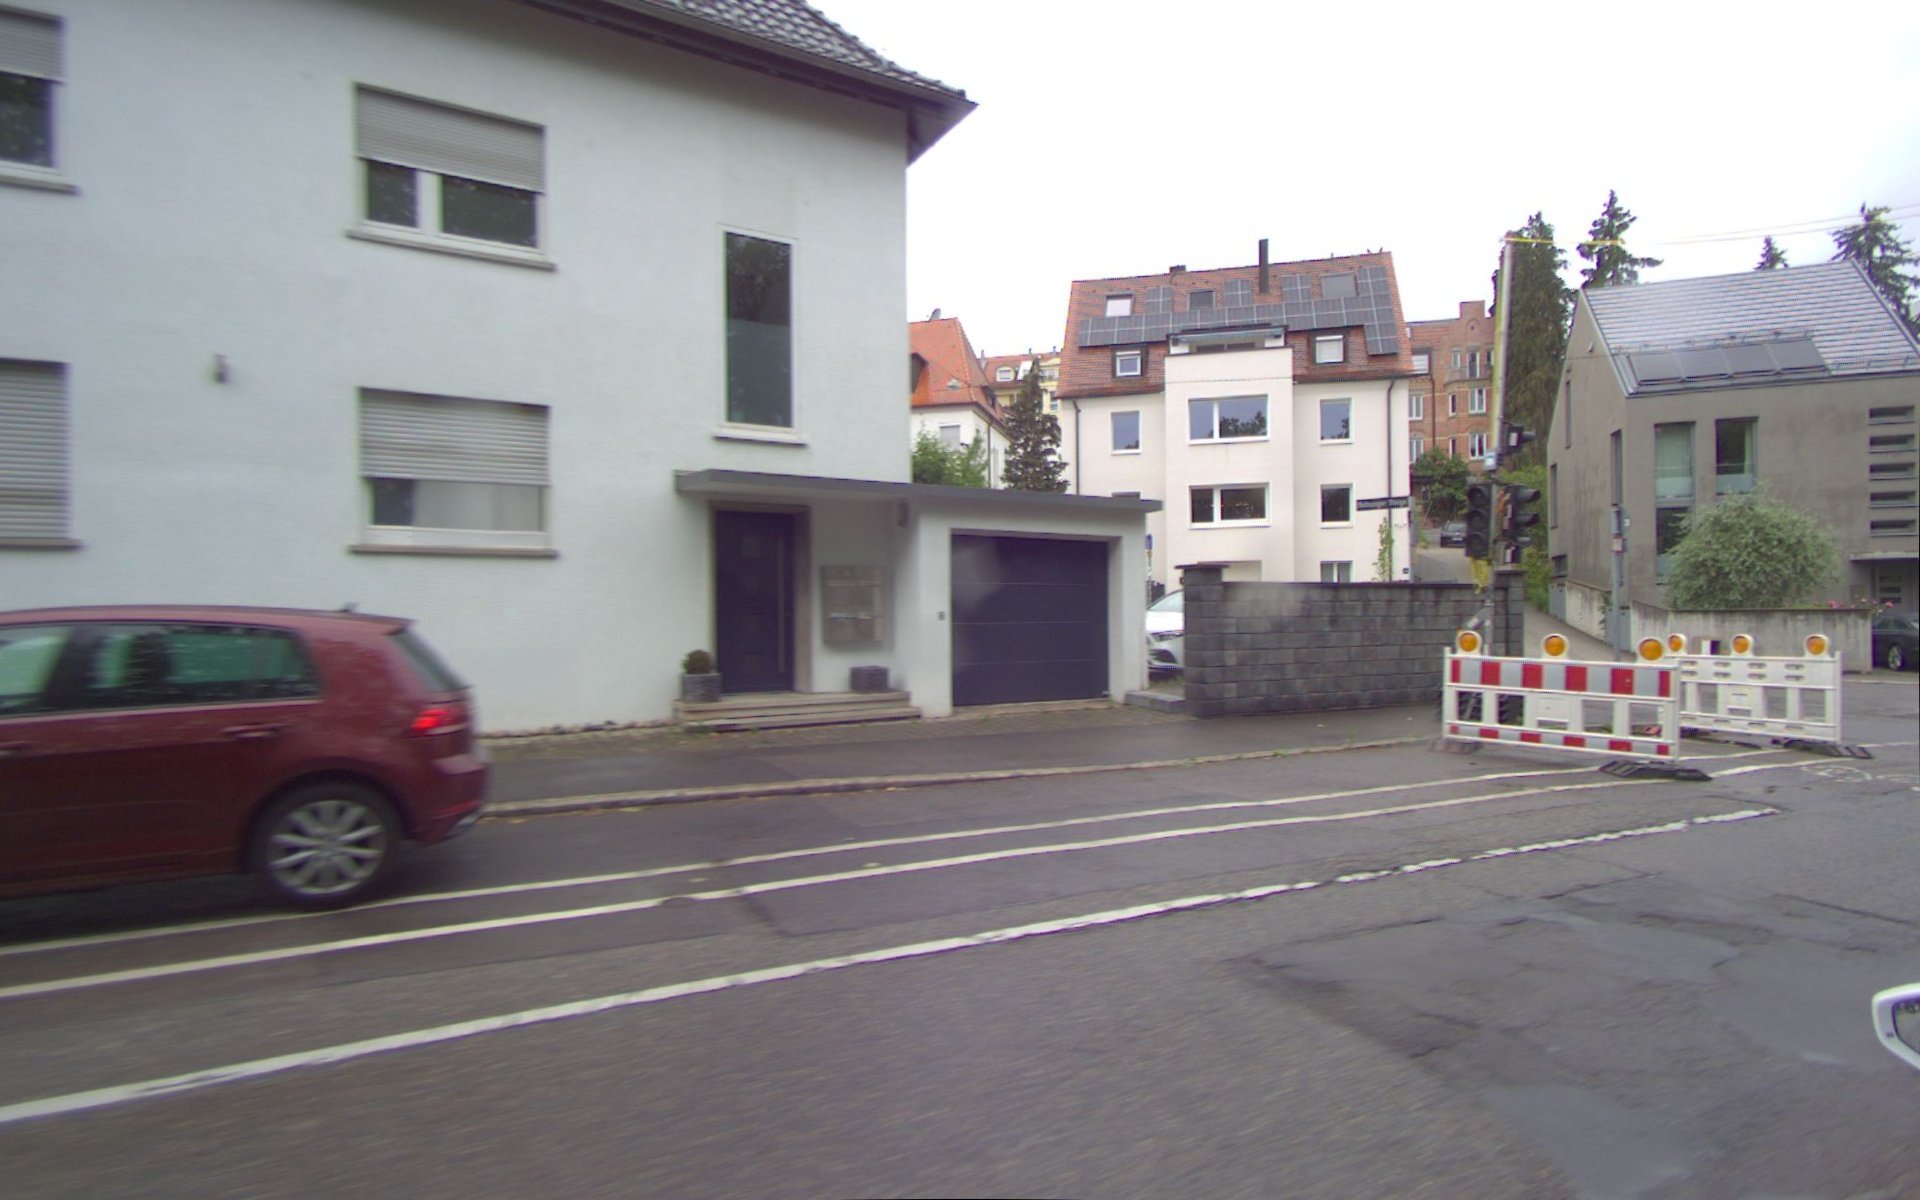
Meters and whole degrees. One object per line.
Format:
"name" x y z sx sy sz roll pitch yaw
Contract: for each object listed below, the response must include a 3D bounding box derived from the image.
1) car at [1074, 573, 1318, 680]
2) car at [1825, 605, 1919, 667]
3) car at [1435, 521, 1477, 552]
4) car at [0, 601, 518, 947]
"car" 3.711 0.404 15.672 3.578 1.483 1.765 1 -1 -33
"car" 24.165 0.863 25.474 1.802 1.463 4.001 0 0 15
"car" 28.646 -3.654 58.110 1.747 1.483 3.616 0 -1 20
"car" -4.502 0.739 4.902 4.179 1.460 1.609 0 0 -30
